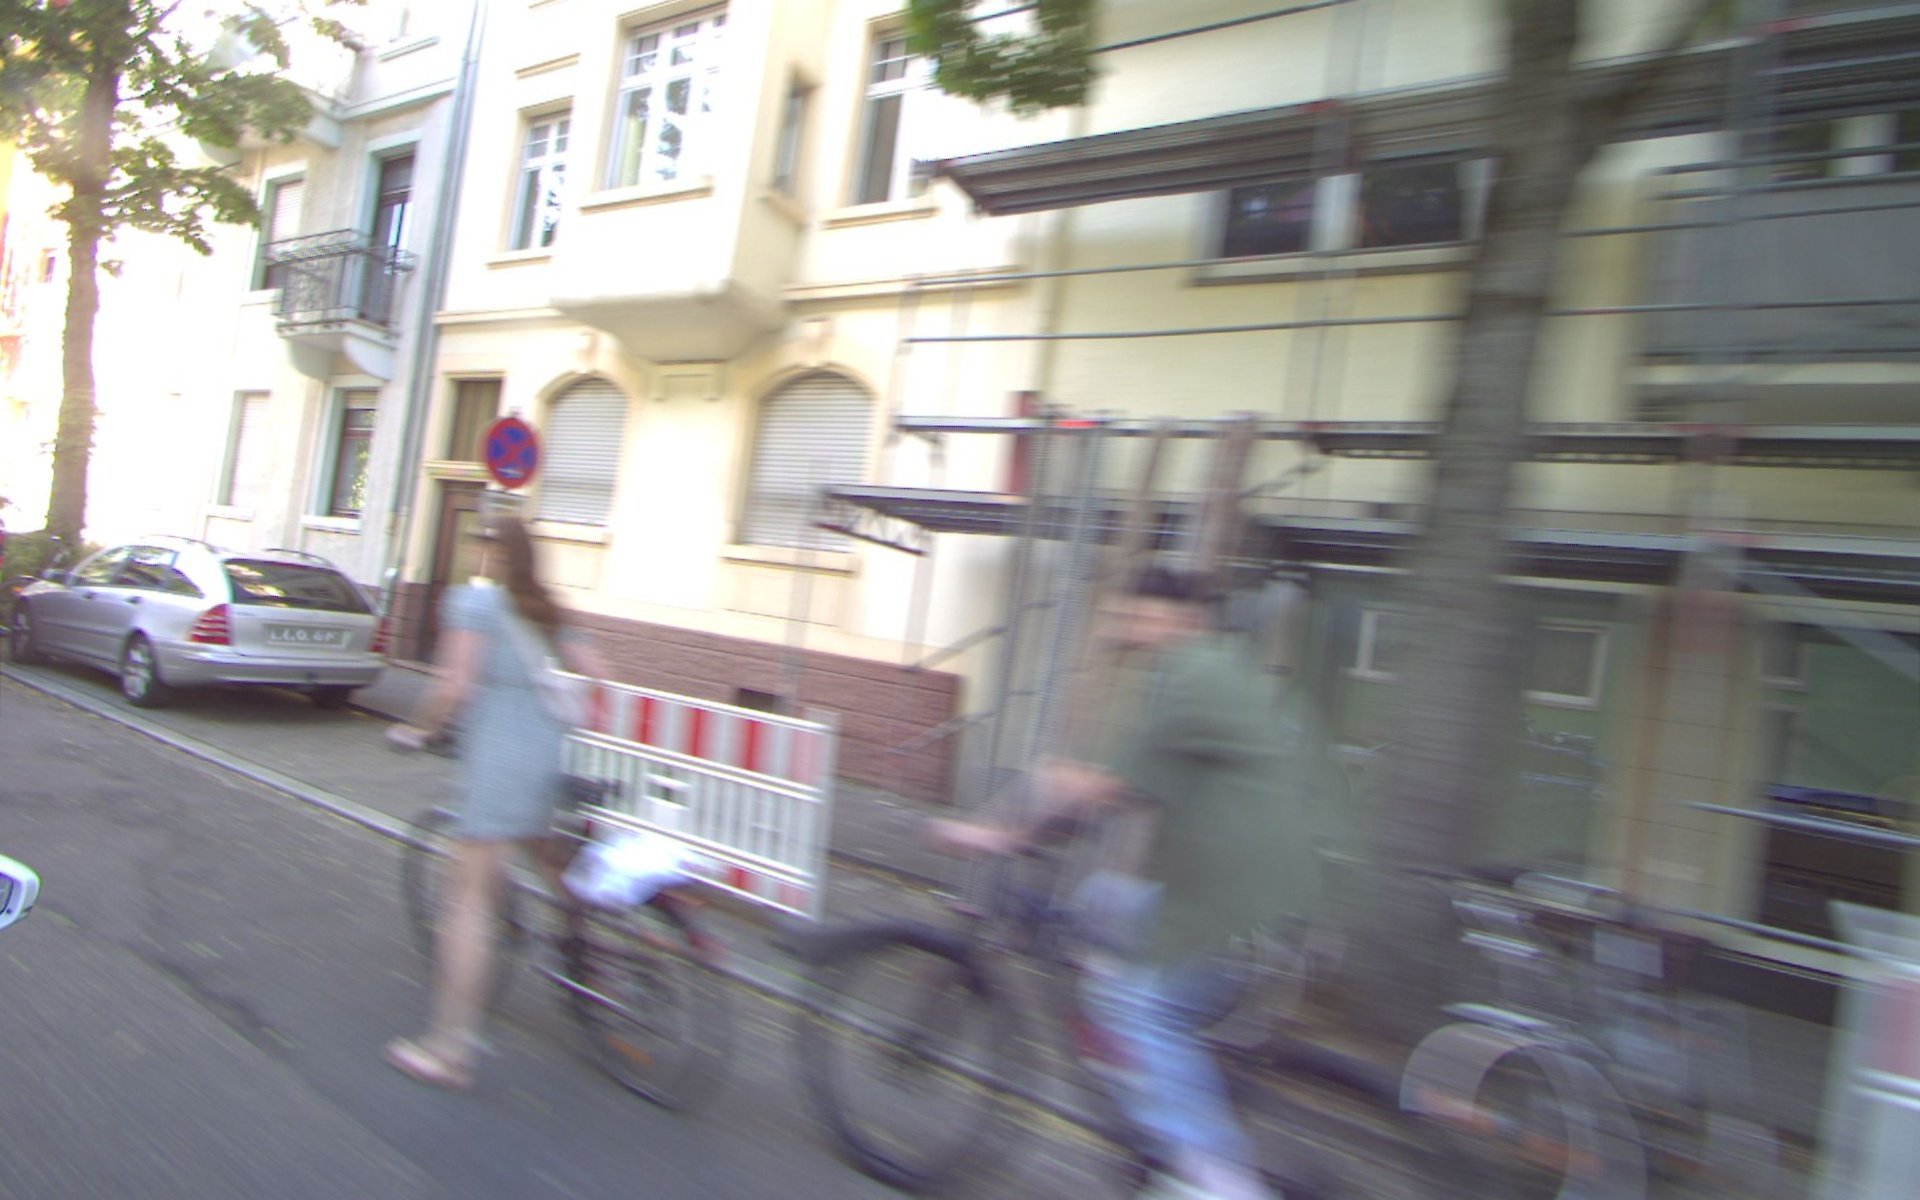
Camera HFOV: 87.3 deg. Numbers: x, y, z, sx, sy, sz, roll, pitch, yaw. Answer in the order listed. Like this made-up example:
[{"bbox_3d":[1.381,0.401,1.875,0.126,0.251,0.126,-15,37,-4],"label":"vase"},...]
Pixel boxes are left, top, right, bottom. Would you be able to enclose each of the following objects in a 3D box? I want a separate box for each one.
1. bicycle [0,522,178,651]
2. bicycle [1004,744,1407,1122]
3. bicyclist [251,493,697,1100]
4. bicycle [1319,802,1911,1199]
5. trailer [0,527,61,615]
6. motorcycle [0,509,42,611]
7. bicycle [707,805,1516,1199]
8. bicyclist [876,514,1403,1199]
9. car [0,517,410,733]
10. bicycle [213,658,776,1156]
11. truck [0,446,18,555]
[{"bbox_3d":[-10.557,-0.143,11.965,0.576,1.320,1.764,7,-2,30],"label":"bicycle"},{"bbox_3d":[1.159,1.282,4.339,0.737,1.133,1.976,7,-3,42],"label":"bicycle"},{"bbox_3d":[-1.644,0.578,3.445,0.965,1.706,0.717,7,-4,33],"label":"bicyclist"},{"bbox_3d":[2.201,1.362,3.310,1.910,1.133,0.742,10,-3,-29],"label":"bicycle"},{"bbox_3d":[-13.778,-0.519,13.567,1.095,1.124,2.090,8,-3,18],"label":"trailer"},{"bbox_3d":[-14.975,-0.713,15.253,2.197,1.431,0.863,7,-3,33],"label":"motorcycle"},{"bbox_3d":[0.349,1.265,2.632,1.826,1.071,0.741,6,-4,29],"label":"bicycle"},{"bbox_3d":[0.503,0.666,2.618,0.964,1.582,0.758,7,-3,28],"label":"bicyclist"},{"bbox_3d":[-7.431,0.177,9.694,4.356,1.439,1.683,7,-1,31],"label":"car"},{"bbox_3d":[-1.614,0.870,3.384,1.828,1.055,0.708,6,-6,33],"label":"bicycle"},{"bbox_3d":[-11.492,-0.783,9.819,5.449,1.970,1.833,7,-3,32],"label":"truck"}]
